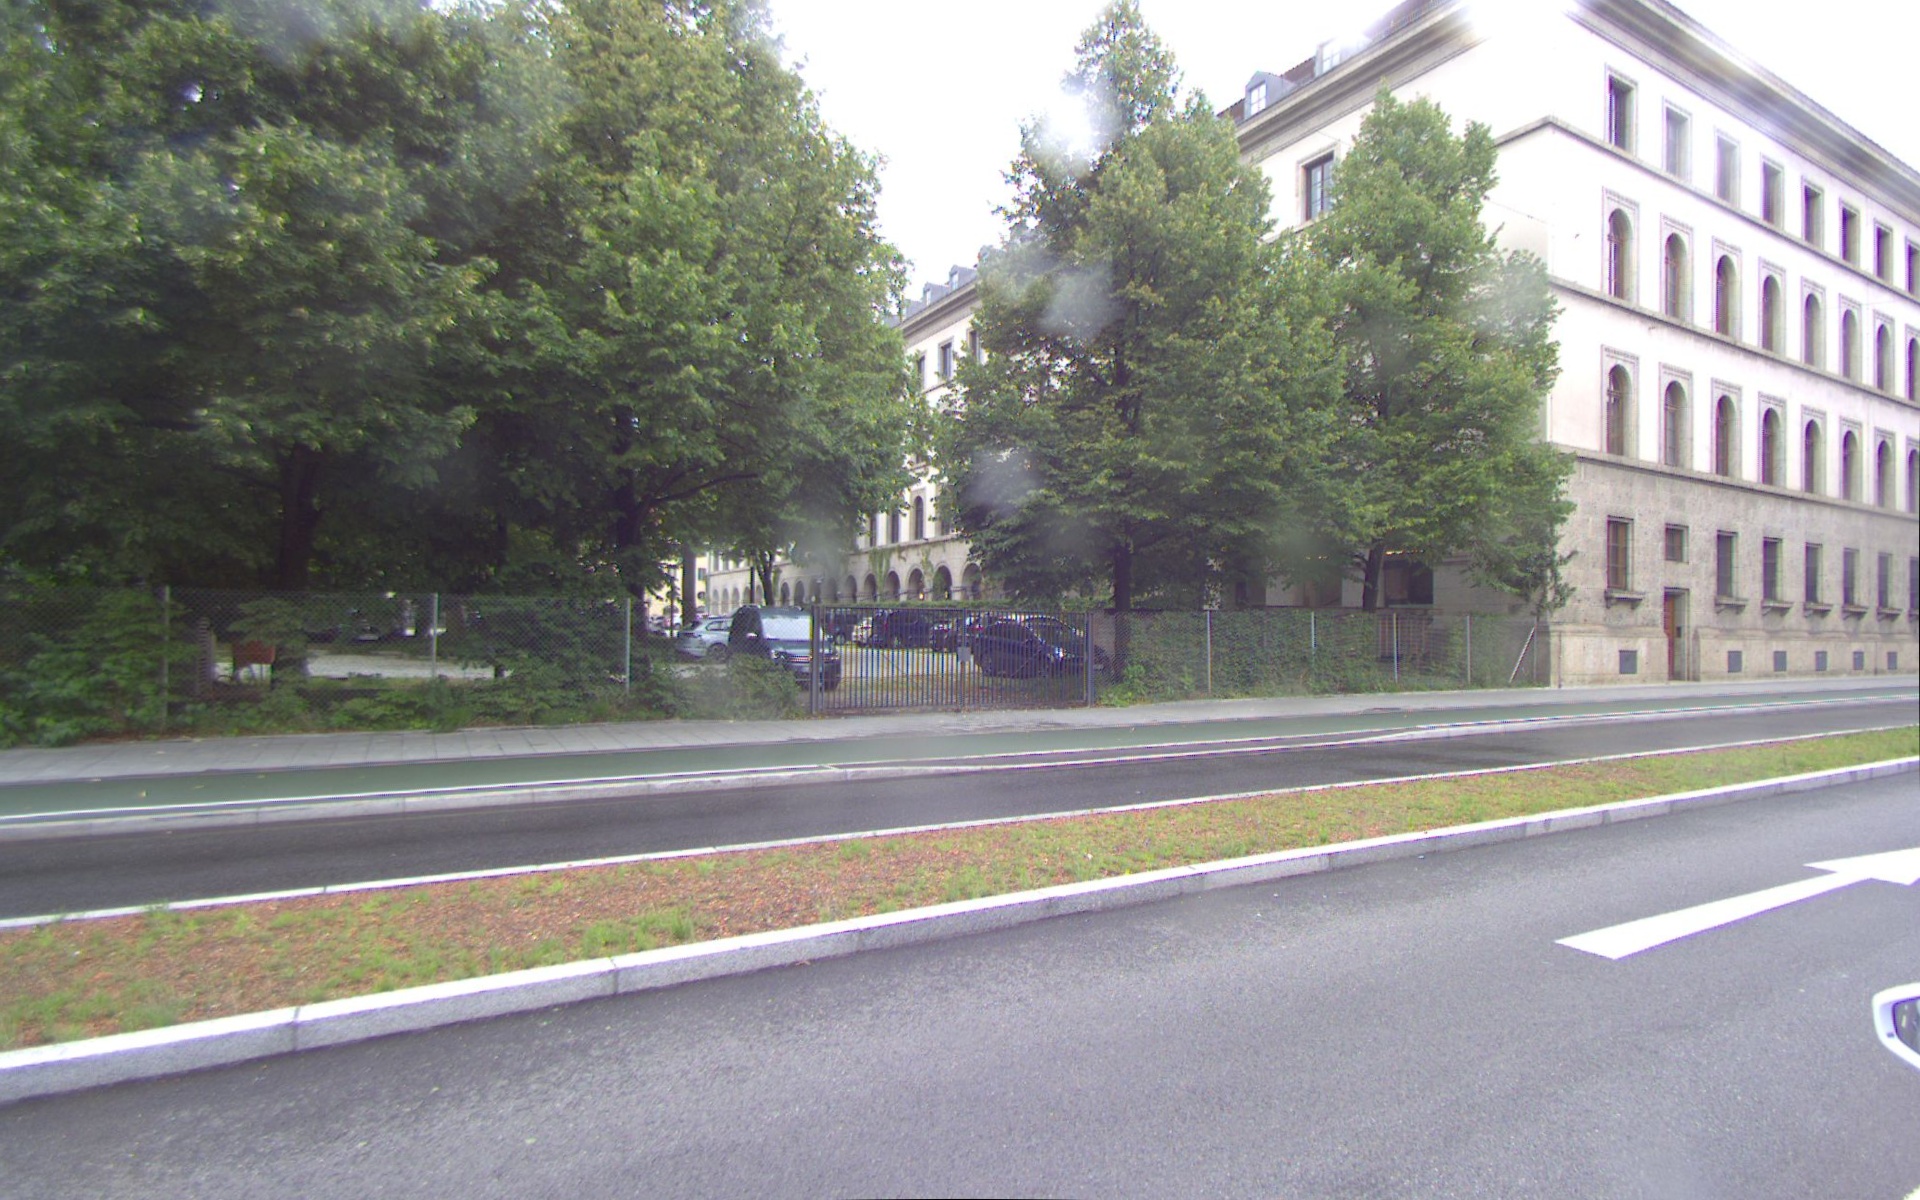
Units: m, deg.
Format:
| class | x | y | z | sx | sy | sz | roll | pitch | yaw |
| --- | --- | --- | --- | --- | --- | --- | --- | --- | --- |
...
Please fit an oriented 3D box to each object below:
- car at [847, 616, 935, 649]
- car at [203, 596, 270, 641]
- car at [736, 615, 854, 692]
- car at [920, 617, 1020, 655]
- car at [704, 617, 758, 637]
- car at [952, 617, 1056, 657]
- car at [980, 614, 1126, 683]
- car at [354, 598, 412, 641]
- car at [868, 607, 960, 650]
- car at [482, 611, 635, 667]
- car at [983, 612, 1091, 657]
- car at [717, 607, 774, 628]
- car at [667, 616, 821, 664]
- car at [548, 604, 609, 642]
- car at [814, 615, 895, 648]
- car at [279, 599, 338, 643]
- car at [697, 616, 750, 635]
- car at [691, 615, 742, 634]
| class | x | y | z | sx | sy | sz | roll | pitch | yaw |
| --- | --- | --- | --- | --- | --- | --- | --- | --- | --- |
| car | -3.390 | 1.580 | 49.440 | 3.954 | 1.564 | 1.761 | 2 | -1 | -31 |
| car | -29.114 | 0.759 | 40.536 | 1.979 | 1.742 | 3.964 | 1 | -1 | -33 |
| car | -3.924 | 1.183 | 23.355 | 1.779 | 1.610 | 4.137 | 1 | -2 | -23 |
| car | 0.443 | 1.526 | 43.040 | 3.954 | 1.564 | 1.761 | 2 | -1 | -31 |
| car | -18.471 | 2.202 | 81.109 | 3.954 | 1.564 | 1.761 | 2 | -1 | -31 |
| car | 1.820 | 1.506 | 40.993 | 3.954 | 1.564 | 1.761 | 2 | -1 | -31 |
| car | 2.384 | 1.238 | 26.715 | 1.783 | 1.671 | 4.243 | 1 | -2 | -30 |
| car | -24.670 | 0.846 | 42.885 | 1.978 | 1.742 | 3.965 | 1 | -1 | -32 |
| car | -2.163 | 1.332 | 47.406 | 3.949 | 1.954 | 1.838 | 1 | -1 | -27 |
| car | -11.911 | 1.145 | 29.855 | 3.956 | 1.564 | 1.761 | 2 | -1 | -32 |
| car | 2.990 | 1.343 | 38.819 | 3.954 | 1.661 | 1.657 | 2 | -1 | -31 |
| car | -16.569 | 1.344 | 77.628 | 3.954 | 1.564 | 1.761 | 2 | -1 | -31 |
| car | -7.073 | 1.304 | 33.022 | 4.579 | 1.460 | 1.984 | 2 | -1 | -31 |
| car | -18.074 | 1.091 | 47.505 | 1.978 | 1.742 | 3.965 | 1 | -1 | -32 |
| car | -5.625 | 1.688 | 53.865 | 3.954 | 1.755 | 1.761 | 1 | -1 | -31 |
| car | -27.292 | 0.875 | 42.179 | 1.978 | 1.742 | 3.965 | 1 | -1 | -32 |
| car | -19.731 | 2.152 | 83.833 | 3.954 | 1.564 | 1.761 | 2 | -1 | -31 |
| car | -20.852 | 2.124 | 86.035 | 3.954 | 1.564 | 1.761 | 2 | -1 | -31 |
